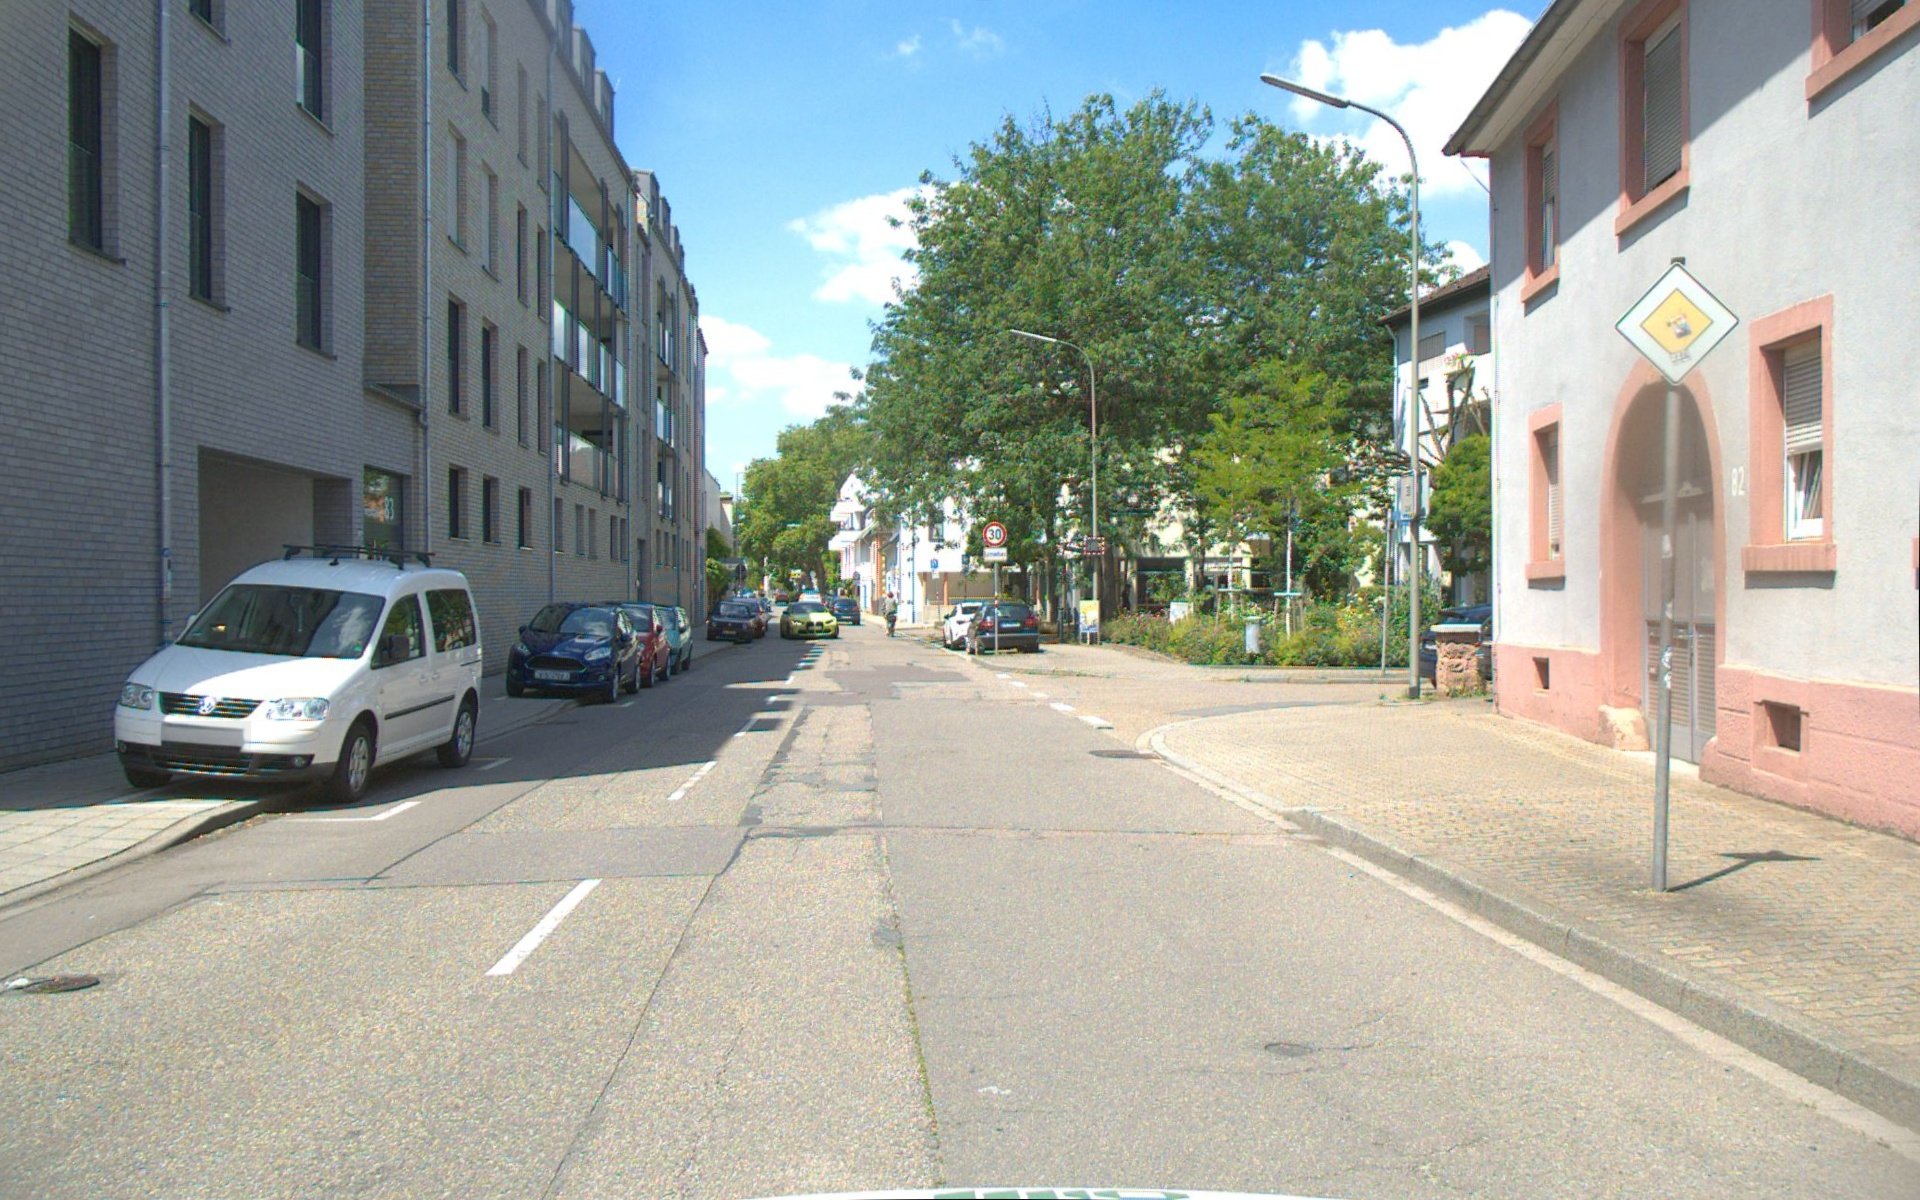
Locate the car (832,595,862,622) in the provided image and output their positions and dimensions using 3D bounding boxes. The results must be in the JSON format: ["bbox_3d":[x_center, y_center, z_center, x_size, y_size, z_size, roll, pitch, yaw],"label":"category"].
[{"bbox_3d":[-6.311,0.464,92.612,1.681,1.426,3.997,0,1,-4],"label":"car"}]

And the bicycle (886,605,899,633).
[{"bbox_3d":[-2.719,0.770,66.918,0.473,1.134,1.194,0,0,-5],"label":"bicycle"}]

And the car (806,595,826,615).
[{"bbox_3d":[-12.060,0.386,138.445,1.678,1.662,3.699,0,0,-6],"label":"car"}]

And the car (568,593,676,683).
[{"bbox_3d":[-6.354,0.678,31.391,1.559,1.581,3.567,1,0,-4],"label":"car"}]

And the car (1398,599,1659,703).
[{"bbox_3d":[9.049,0.794,26.502,3.527,1.474,1.740,1,2,-5],"label":"car"}]

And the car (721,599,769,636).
[{"bbox_3d":[-8.649,0.685,66.645,1.698,1.467,3.996,0,0,-4],"label":"car"}]

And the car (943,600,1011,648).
[{"bbox_3d":[0.499,0.728,51.572,1.744,1.445,3.996,0,0,-5],"label":"car"}]

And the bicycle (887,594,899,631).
[{"bbox_3d":[-2.719,0.510,66.912,0.468,1.516,0.575,0,0,-5],"label":"bicycle"}]

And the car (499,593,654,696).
[{"bbox_3d":[-6.069,0.666,26.588,1.688,1.481,4.003,2,0,-3],"label":"car"}]

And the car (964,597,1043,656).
[{"bbox_3d":[1.131,0.691,44.784,1.659,1.445,3.996,-2,0,-5],"label":"car"}]

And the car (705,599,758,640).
[{"bbox_3d":[-8.485,0.721,61.603,1.698,1.467,3.996,0,0,-4],"label":"car"}]

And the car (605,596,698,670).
[{"bbox_3d":[-6.757,0.692,36.501,1.559,1.481,3.700,2,0,-4],"label":"car"}]

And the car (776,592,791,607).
[{"bbox_3d":[-24.847,-0.088,232.605,2.115,2.049,3.995,0,0,-6],"label":"car"}]

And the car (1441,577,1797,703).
[{"bbox_3d":[8.999,0.547,22.821,4.181,1.557,1.741,-2,-1,-1],"label":"car"}]

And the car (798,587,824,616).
[{"bbox_3d":[-11.104,0.092,123.432,1.803,2.049,3.997,0,0,-4],"label":"car"}]

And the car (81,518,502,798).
[{"bbox_3d":[-5.389,0.410,14.021,1.721,1.925,4.336,3,0,0],"label":"car"}]

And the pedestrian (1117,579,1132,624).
[{"bbox_3d":[6.980,0.056,70.080,0.582,1.891,0.604,0,0,11],"label":"pedestrian"}]

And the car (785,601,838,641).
[{"bbox_3d":[-5.792,0.803,64.236,1.955,1.405,4.387,2,0,-6],"label":"car"}]
